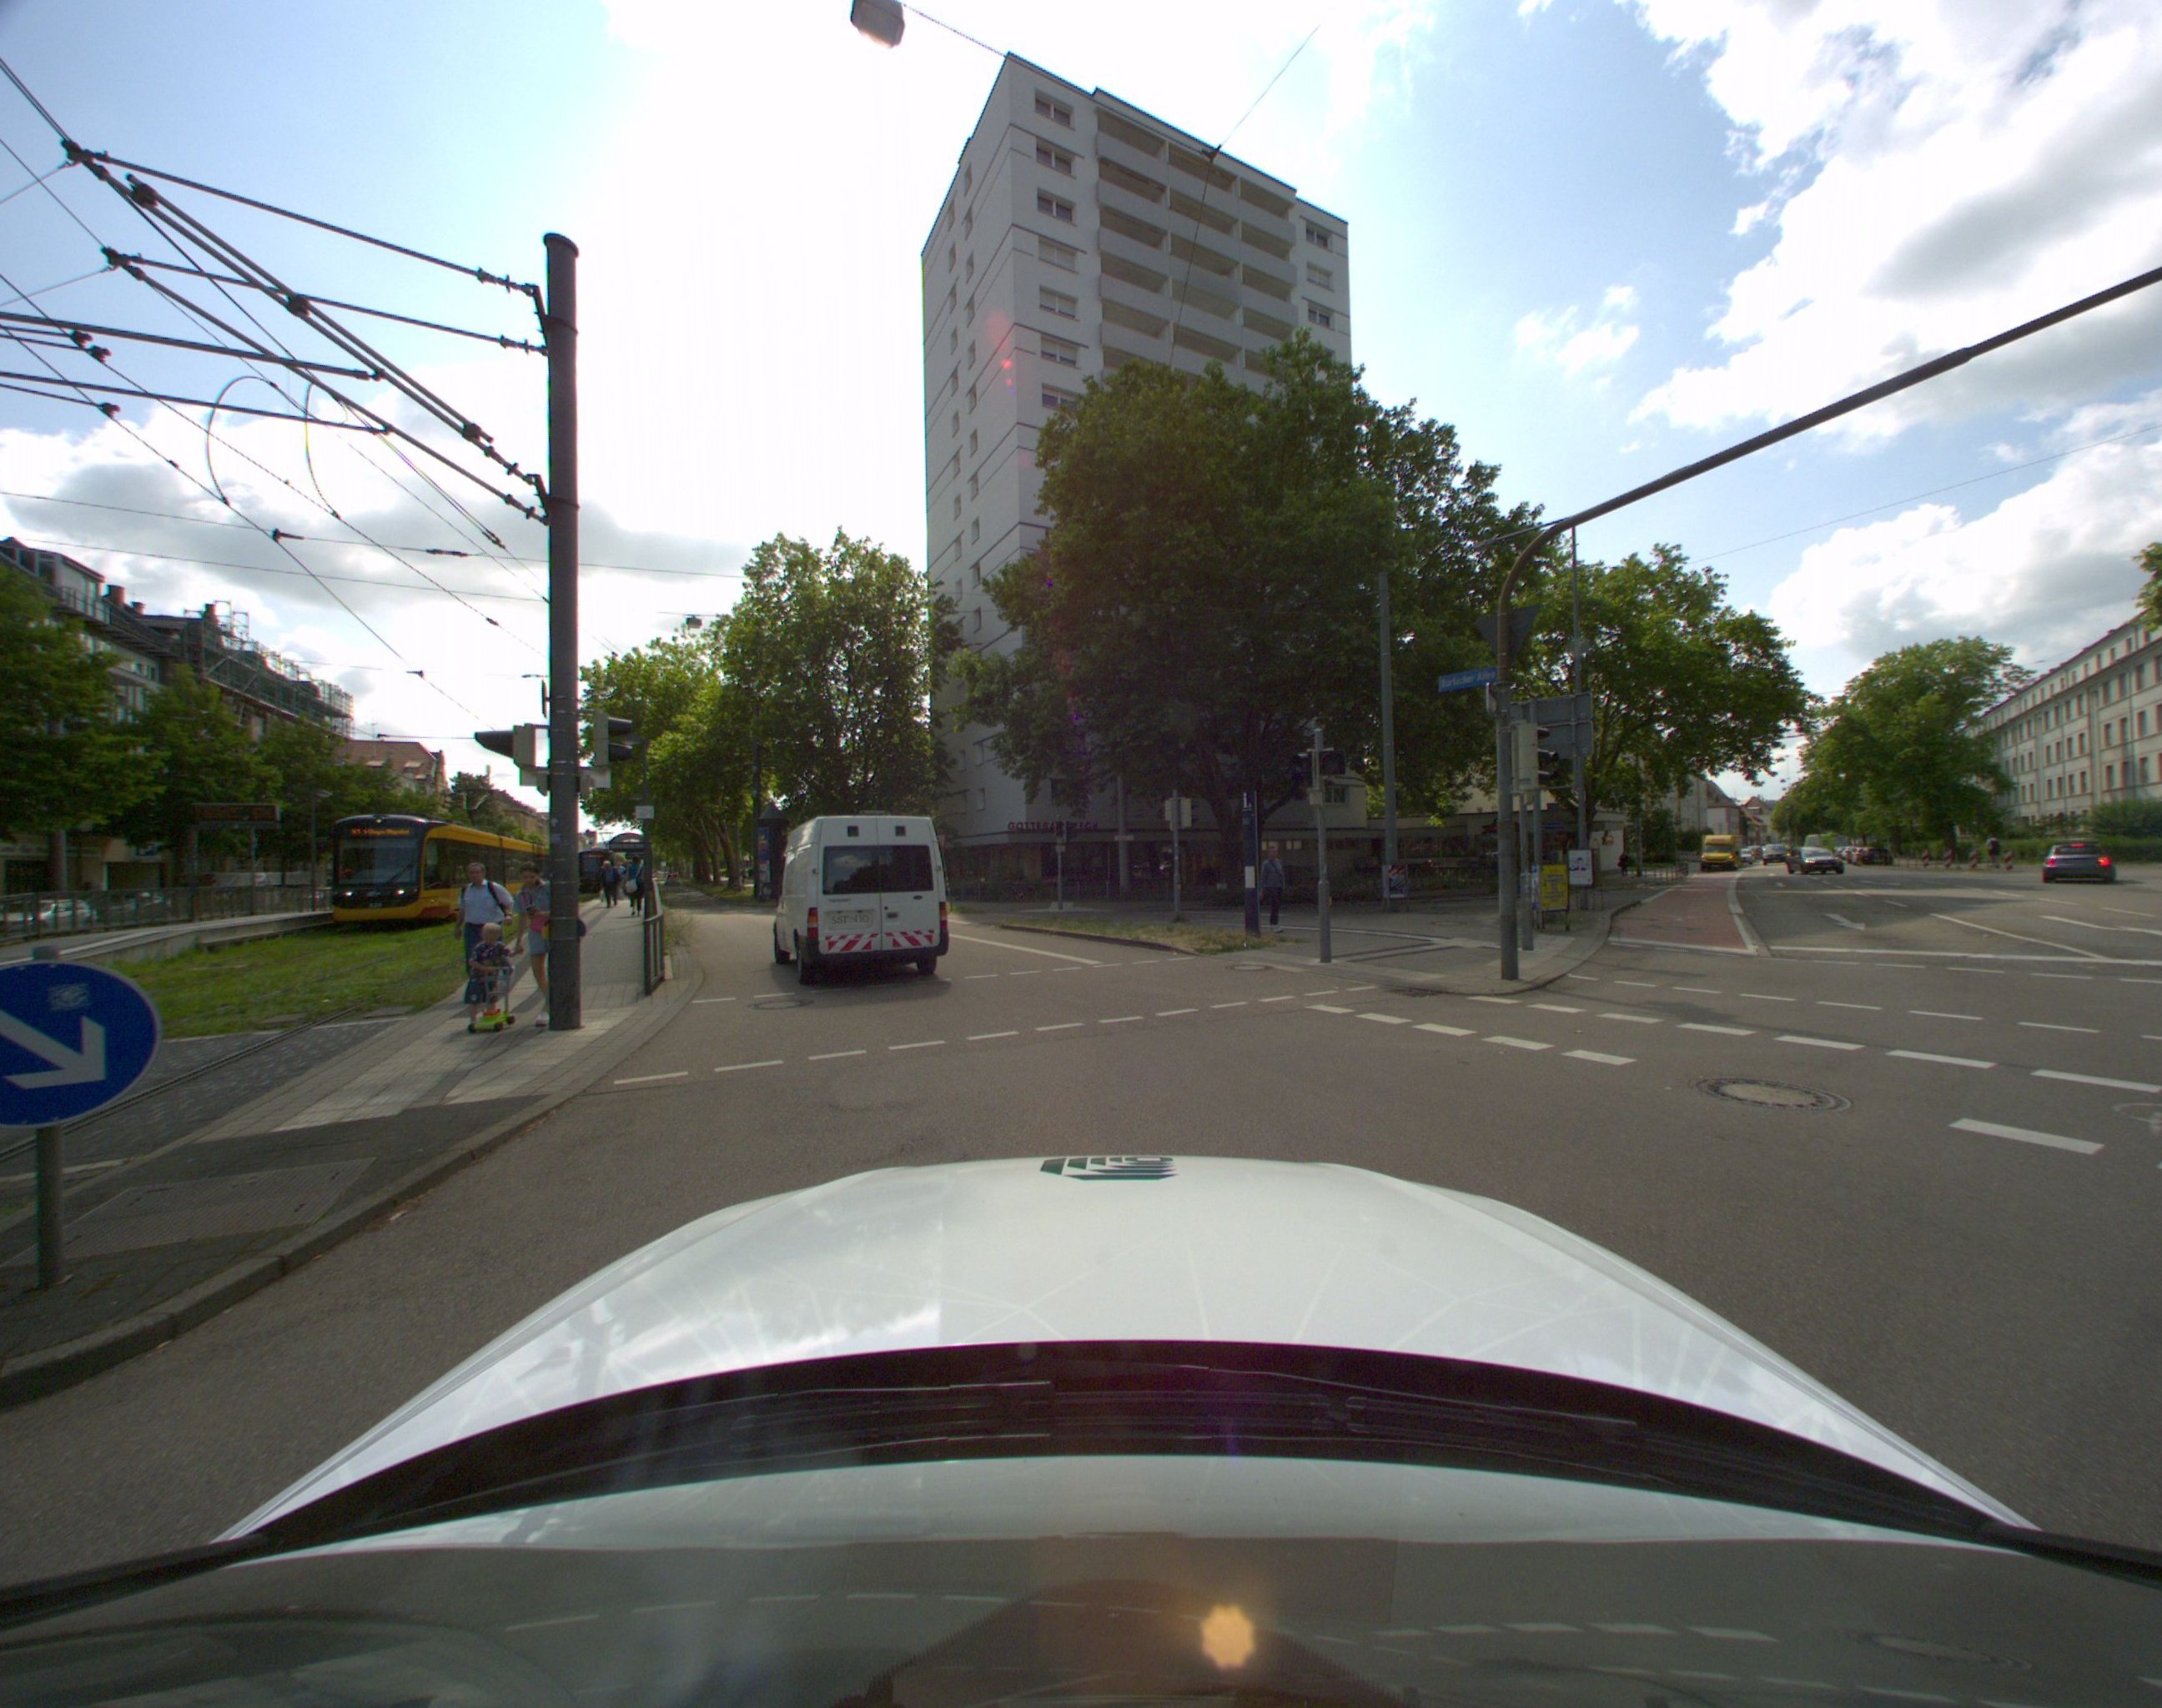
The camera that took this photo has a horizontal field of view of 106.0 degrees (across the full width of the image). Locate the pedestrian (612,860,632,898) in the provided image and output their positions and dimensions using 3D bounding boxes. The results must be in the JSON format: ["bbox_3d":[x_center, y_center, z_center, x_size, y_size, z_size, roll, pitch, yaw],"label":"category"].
[{"bbox_3d":[-23.248,1.271,41.276,0.815,1.872,1.021,-1,-1,-29],"label":"pedestrian"}]

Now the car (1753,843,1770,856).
[{"bbox_3d":[94.781,-0.636,113.419,1.644,1.661,3.772,-2,0,41],"label":"car"}]

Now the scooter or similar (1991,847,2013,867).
[{"bbox_3d":[52.743,0.174,46.659,0.543,1.091,1.300,-2,-1,37],"label":"scooter or similar"}]

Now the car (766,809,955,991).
[{"bbox_3d":[-3.707,0.619,12.984,2.058,2.333,4.674,-1,-1,-26],"label":"car"}]

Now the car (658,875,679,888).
[{"bbox_3d":[-50.804,3.337,100.267,1.828,1.492,3.959,-1,-1,-33],"label":"car"}]

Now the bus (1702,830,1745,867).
[{"bbox_3d":[51.048,-0.448,64.841,2.371,2.709,6.411,-2,-1,36],"label":"bus"}]

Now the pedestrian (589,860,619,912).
[{"bbox_3d":[-16.879,1.110,28.823,0.862,1.775,0.868,-1,-1,-28],"label":"pedestrian"}]

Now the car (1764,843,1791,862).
[{"bbox_3d":[66.744,-0.160,78.055,1.844,1.661,3.772,-2,0,41],"label":"car"}]

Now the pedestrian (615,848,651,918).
[{"bbox_3d":[-12.574,0.808,22.869,0.832,1.899,0.838,-1,-1,-28],"label":"pedestrian"}]

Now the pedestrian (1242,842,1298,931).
[{"bbox_3d":[3.957,0.659,17.050,0.696,1.783,0.879,-1,-1,-26],"label":"pedestrian"}]

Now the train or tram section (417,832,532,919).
[{"bbox_3d":[-28.613,0.975,38.913,2.812,3.584,10.308,-1,-1,-28],"label":"train or tram section"}]

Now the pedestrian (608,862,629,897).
[{"bbox_3d":[-24.227,1.335,42.679,0.891,1.801,1.480,-1,-1,-29],"label":"pedestrian"}]

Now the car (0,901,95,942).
[{"bbox_3d":[-40.973,2.628,31.927,1.729,1.371,3.445,-2,0,-28],"label":"car"}]

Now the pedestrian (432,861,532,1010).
[{"bbox_3d":[-7.703,1.001,10.523,0.853,1.780,1.035,-1,-1,-28],"label":"pedestrian"}]

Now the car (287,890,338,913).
[{"bbox_3d":[-53.916,3.298,57.223,1.729,1.371,3.445,-2,0,-28],"label":"car"}]

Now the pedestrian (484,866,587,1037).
[{"bbox_3d":[-5.622,0.969,8.426,0.623,1.666,0.674,-2,-1,-9],"label":"pedestrian"}]

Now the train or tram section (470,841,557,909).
[{"bbox_3d":[-33.983,1.245,49.267,2.739,3.584,12.896,-1,-1,-28],"label":"train or tram section"}]

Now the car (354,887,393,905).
[{"bbox_3d":[-61.000,3.565,70.296,1.729,1.371,3.670,-2,0,-28],"label":"car"}]

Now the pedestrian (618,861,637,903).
[{"bbox_3d":[-20.744,1.279,37.284,0.705,1.849,0.782,-1,-1,-29],"label":"pedestrian"}]

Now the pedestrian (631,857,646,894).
[{"bbox_3d":[-23.157,1.128,42.608,0.530,1.900,0.475,-2,-1,37],"label":"pedestrian"}]

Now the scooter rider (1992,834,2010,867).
[{"bbox_3d":[52.752,-0.202,46.687,0.521,1.812,0.653,-2,-1,37],"label":"scooter rider"}]

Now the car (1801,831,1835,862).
[{"bbox_3d":[67.537,-0.749,74.705,2.099,2.641,6.368,-2,0,41],"label":"car"}]

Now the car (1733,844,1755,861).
[{"bbox_3d":[71.666,-0.179,87.998,1.712,1.661,3.772,-2,0,41],"label":"car"}]

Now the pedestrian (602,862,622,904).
[{"bbox_3d":[-21.321,1.310,37.029,0.705,1.849,0.899,-1,-1,-29],"label":"pedestrian"}]

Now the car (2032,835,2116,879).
[{"bbox_3d":[38.358,0.107,31.527,3.488,1.538,1.676,-2,0,-45],"label":"car"}]

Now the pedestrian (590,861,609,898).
[{"bbox_3d":[-23.981,1.270,40.583,0.716,1.801,1.122,-1,-1,-29],"label":"pedestrian"}]

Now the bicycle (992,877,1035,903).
[{"bbox_3d":[-2.854,1.527,34.534,1.718,1.009,0.534,-2,-1,-2],"label":"bicycle"}]

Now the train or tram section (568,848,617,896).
[{"bbox_3d":[-40.743,1.519,68.243,2.739,3.584,12.896,-1,-1,-28],"label":"train or tram section"}]

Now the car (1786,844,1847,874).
[{"bbox_3d":[43.218,0.265,47.958,1.769,1.661,4.343,-2,0,30],"label":"car"}]

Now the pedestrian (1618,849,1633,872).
[{"bbox_3d":[35.245,0.418,52.702,0.579,1.479,0.663,-1,-1,-44],"label":"pedestrian"}]

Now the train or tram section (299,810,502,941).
[{"bbox_3d":[-23.159,0.705,28.656,2.823,3.584,12.896,-1,-1,-28],"label":"train or tram section"}]

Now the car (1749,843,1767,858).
[{"bbox_3d":[89.075,-0.447,107.095,1.636,1.932,3.772,-2,0,41],"label":"car"}]

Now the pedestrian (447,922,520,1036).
[{"bbox_3d":[-6.050,1.250,8.261,0.419,1.063,0.435,-2,-1,-9],"label":"pedestrian"}]

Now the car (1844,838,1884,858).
[{"bbox_3d":[64.818,-0.505,67.441,1.775,1.525,3.702,-2,-1,35],"label":"car"}]

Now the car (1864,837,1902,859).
[{"bbox_3d":[62.123,-0.469,63.119,1.708,1.554,3.656,-3,-1,39],"label":"car"}]
